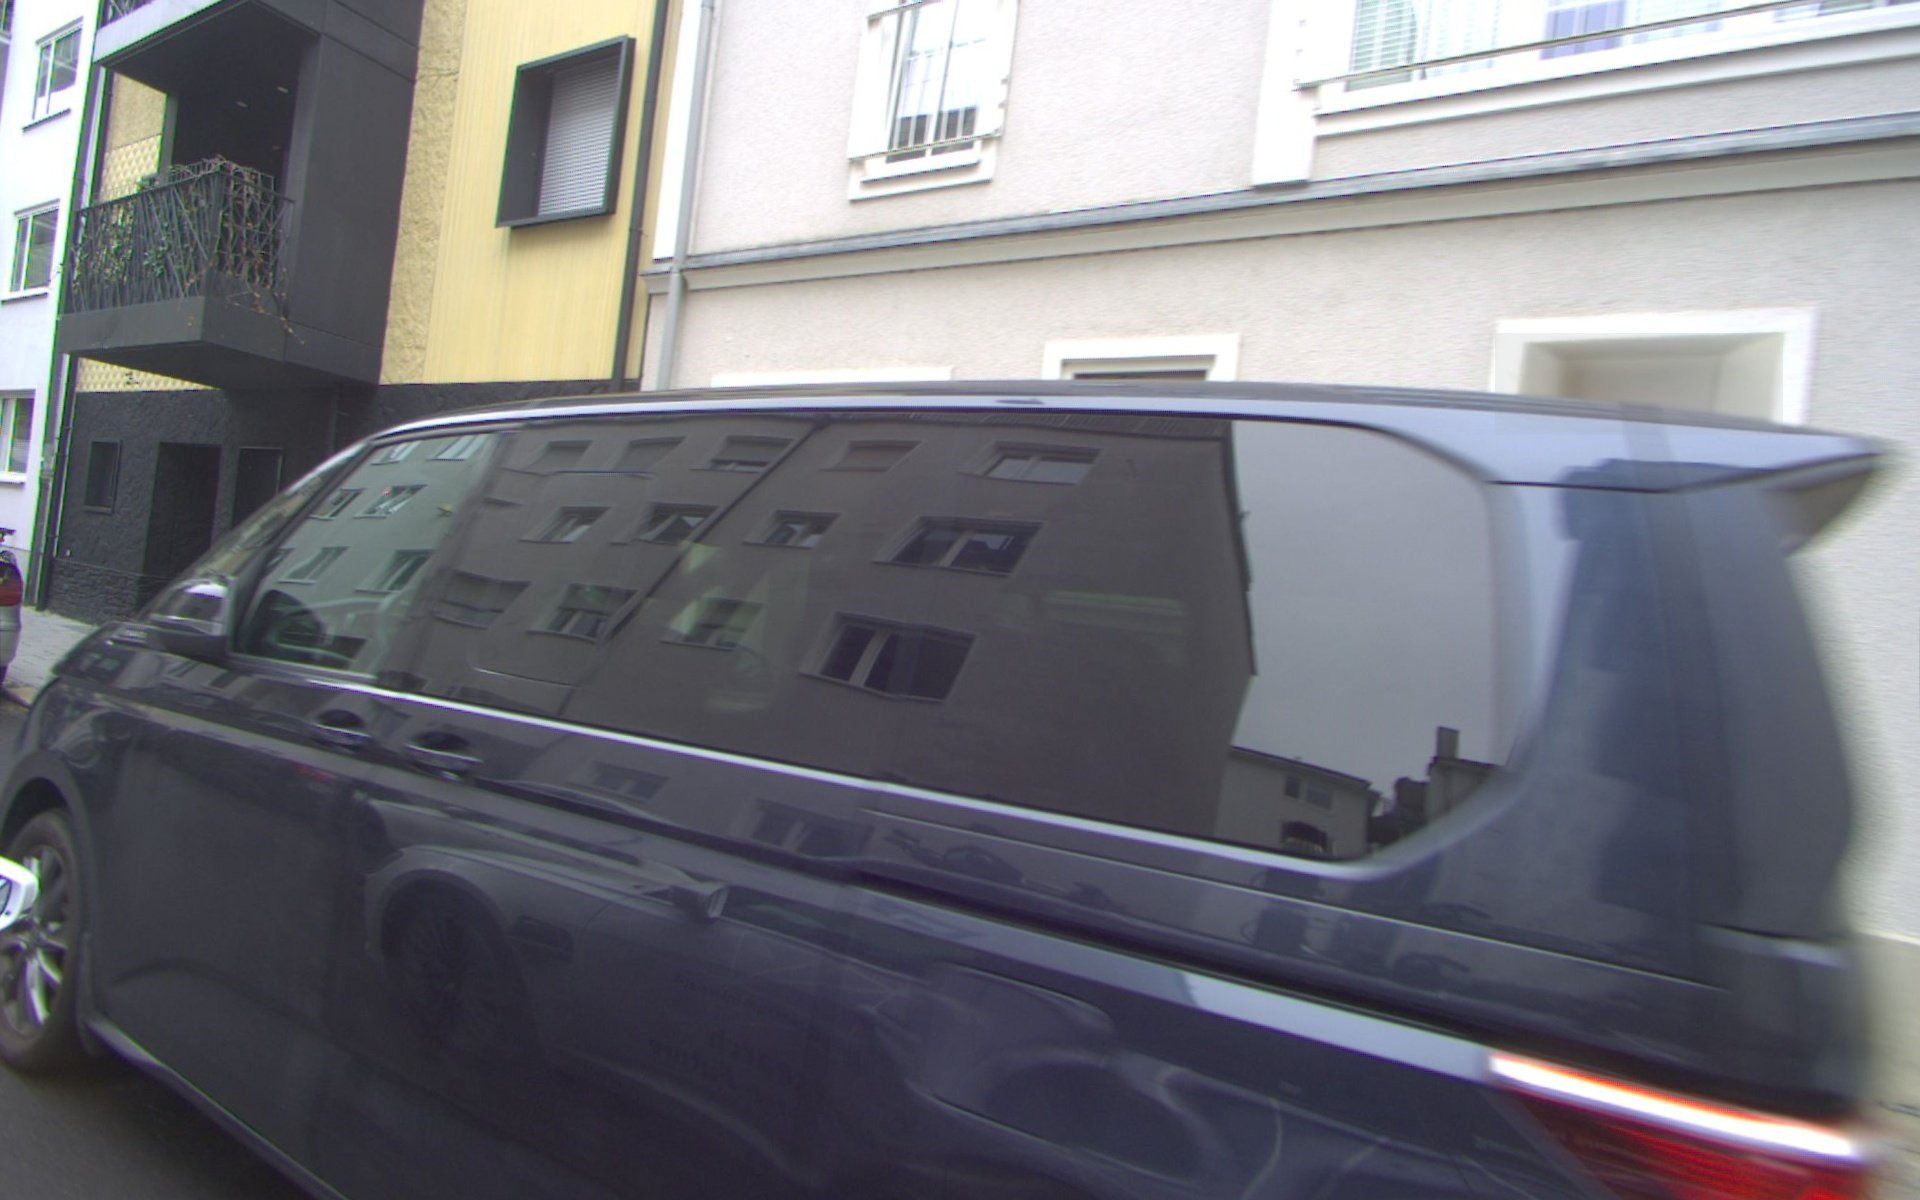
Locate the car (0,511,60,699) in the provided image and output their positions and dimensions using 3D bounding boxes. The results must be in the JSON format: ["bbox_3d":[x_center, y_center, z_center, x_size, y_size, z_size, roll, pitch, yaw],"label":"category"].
[{"bbox_3d":[-9.462,-0.199,8.316,4.131,1.446,1.737,6,-1,30],"label":"car"}]

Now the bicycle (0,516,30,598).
[{"bbox_3d":[-13.581,-0.655,13.989,1.496,1.060,0.478,7,0,31],"label":"bicycle"}]

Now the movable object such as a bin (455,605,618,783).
[{"bbox_3d":[-3.046,0.666,7.268,0.564,1.153,0.797,7,0,30],"label":"movable object such as a bin"}]

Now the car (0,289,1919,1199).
[{"bbox_3d":[-0.906,0.561,2.887,5.098,1.859,1.987,6,-3,31],"label":"car"}]
